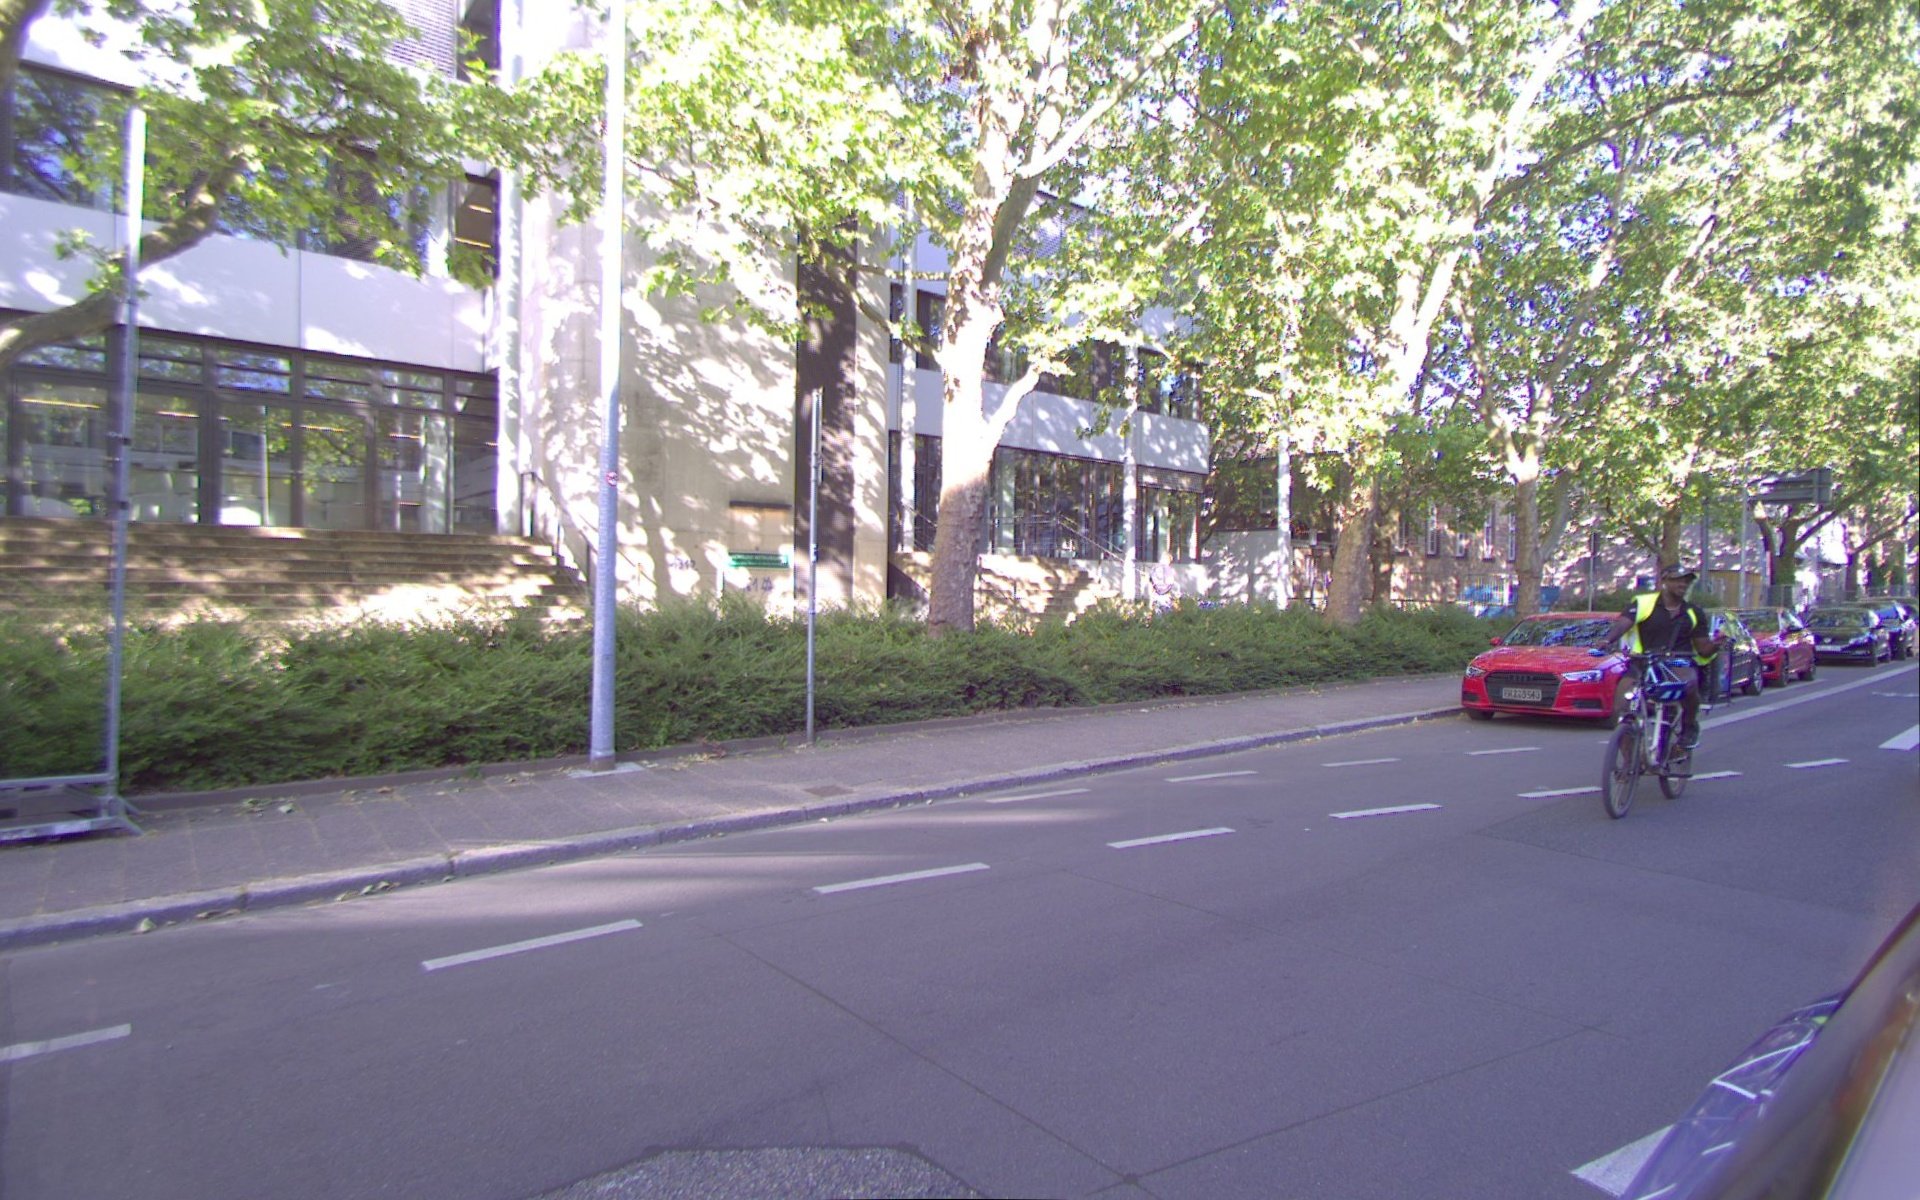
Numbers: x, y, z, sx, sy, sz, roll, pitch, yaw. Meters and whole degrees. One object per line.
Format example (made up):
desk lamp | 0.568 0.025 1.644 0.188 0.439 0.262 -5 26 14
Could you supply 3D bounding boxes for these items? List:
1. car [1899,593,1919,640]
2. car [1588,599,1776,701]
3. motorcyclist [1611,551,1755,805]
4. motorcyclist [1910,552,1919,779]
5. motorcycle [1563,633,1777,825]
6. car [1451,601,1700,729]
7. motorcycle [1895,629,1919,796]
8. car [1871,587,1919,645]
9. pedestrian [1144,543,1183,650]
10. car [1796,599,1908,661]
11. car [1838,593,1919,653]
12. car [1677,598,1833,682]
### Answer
car | 35.535 0.571 36.787 4.497 1.633 1.632 -1 0 -41
car | 11.855 0.730 16.548 3.632 1.436 1.668 -1 0 -40
motorcyclist | 5.389 0.539 7.548 0.738 1.765 0.718 0 0 -41
motorcyclist | 8.217 0.520 8.079 0.897 1.811 0.832 0 0 -41
motorcycle | 5.326 0.861 7.532 2.197 1.146 0.798 -1 0 -41
car | 8.300 0.737 13.519 3.931 1.409 1.792 -1 0 -42
motorcycle | 7.983 0.845 7.854 1.896 1.183 0.864 -1 0 -41
car | 31.171 0.472 33.016 4.497 1.814 1.632 -1 0 -41
pedestrian | 3.957 -0.074 19.669 0.549 2.039 0.555 0 0 38
car | 22.947 0.711 25.990 3.855 1.441 1.691 -1 0 -41
car | 26.633 0.603 29.047 4.158 1.598 1.632 -1 0 -41
car | 15.743 0.708 19.975 3.854 1.467 1.691 -1 0 -40
